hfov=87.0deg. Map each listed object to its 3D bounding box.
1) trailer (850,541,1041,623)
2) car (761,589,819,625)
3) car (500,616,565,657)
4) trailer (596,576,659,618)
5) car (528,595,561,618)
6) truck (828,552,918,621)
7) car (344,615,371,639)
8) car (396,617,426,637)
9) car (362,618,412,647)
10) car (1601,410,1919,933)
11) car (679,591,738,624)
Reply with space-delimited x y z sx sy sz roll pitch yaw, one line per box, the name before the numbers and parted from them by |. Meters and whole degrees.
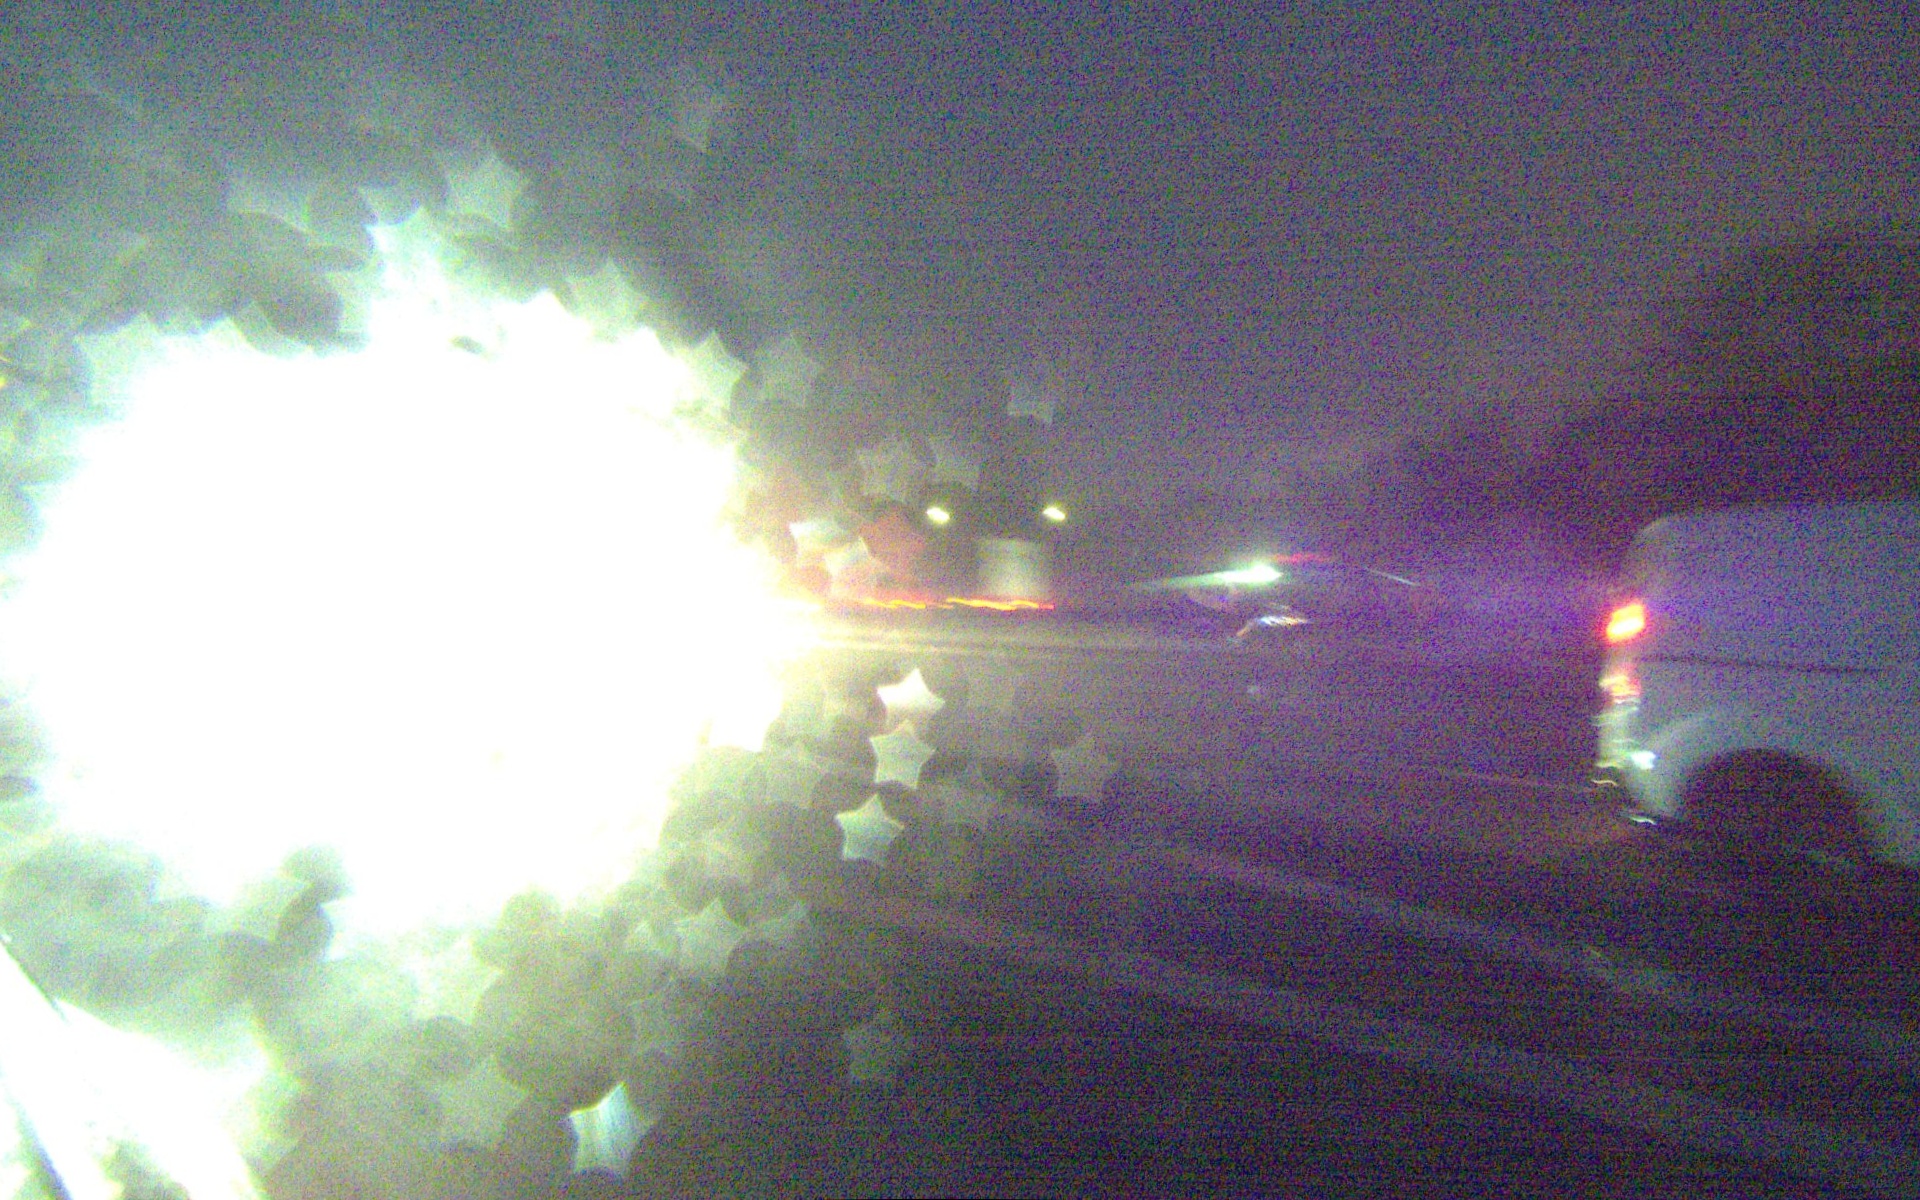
trailer | -1.221 -0.811 53.565 2.617 3.758 13.978 -4 2 -35
car | -10.298 0.406 61.148 1.967 2.028 4.011 -4 2 -33
car | -18.457 1.538 43.579 1.699 1.608 4.009 -1 0 -36
trailer | -35.145 -0.237 106.513 2.733 4.059 14.054 -4 2 -32
car | -39.482 0.620 96.185 1.967 2.028 4.010 -4 2 -34
truck | -5.171 -0.748 59.364 2.617 3.758 5.718 -4 2 -34
car | -56.627 2.521 95.124 1.967 2.028 4.011 -4 2 -33
car | -47.630 2.313 87.801 1.890 1.608 4.011 -1 0 -34
car | -33.968 1.879 59.986 1.892 1.608 4.007 -1 0 -39
car | 5.339 0.259 3.371 1.967 2.029 5.029 0 -1 -36
car | -14.859 0.432 59.653 1.967 1.785 4.010 -4 2 -36
